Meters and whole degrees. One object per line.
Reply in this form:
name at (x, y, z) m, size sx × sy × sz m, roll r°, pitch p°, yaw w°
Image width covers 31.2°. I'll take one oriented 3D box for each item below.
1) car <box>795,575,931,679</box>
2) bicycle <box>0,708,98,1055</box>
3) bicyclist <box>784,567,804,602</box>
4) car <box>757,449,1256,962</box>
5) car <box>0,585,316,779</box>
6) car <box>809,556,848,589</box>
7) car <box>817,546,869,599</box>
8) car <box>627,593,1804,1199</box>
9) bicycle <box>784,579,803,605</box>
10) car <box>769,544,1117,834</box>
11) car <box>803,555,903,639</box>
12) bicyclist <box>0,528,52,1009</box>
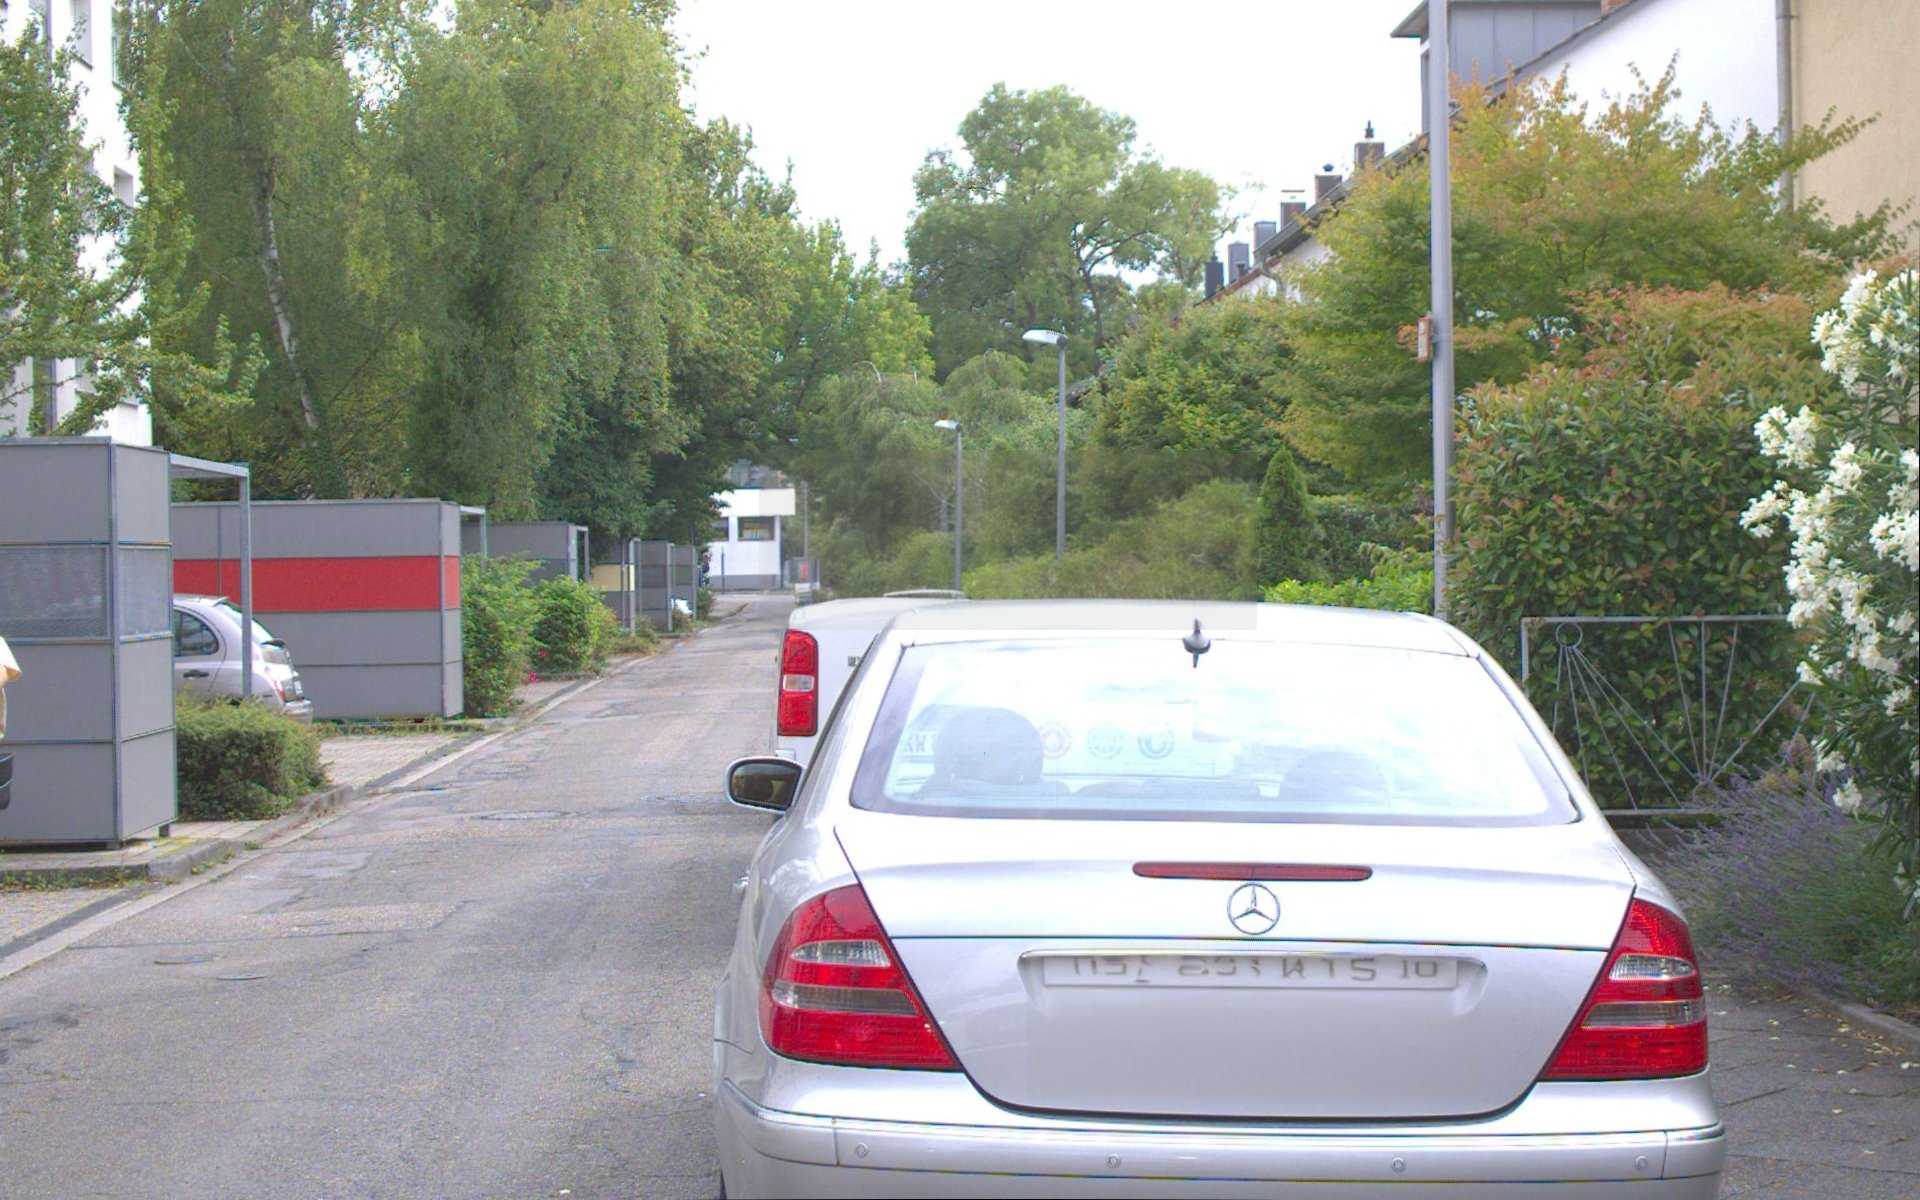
car at (-1.383, 0.359, 49.106) m, size 1.825 × 1.365 × 4.331 m, roll 1°, pitch 1°, yaw -2°
bicycle at (-3.453, 0.955, 11.530) m, size 0.597 × 1.072 × 2.042 m, roll -2°, pitch 1°, yaw -1°
bicyclist at (-7.183, -0.669, 148.565) m, size 0.798 × 1.506 × 0.934 m, roll 1°, pitch 0°, yaw 0°
car at (0.054, 0.383, 15.809) m, size 1.903 × 1.958 × 5.254 m, roll 0°, pitch 1°, yaw -3°
car at (-7.290, 0.686, 28.793) m, size 3.561 × 1.475 × 1.711 m, roll -2°, pitch 1°, yaw -6°
car at (-6.299, -1.329, 165.303) m, size 1.825 × 1.576 × 4.000 m, roll 1°, pitch 1°, yaw -2°
car at (-4.209, -1.005, 124.409) m, size 1.825 × 1.877 × 4.000 m, roll 1°, pitch 1°, yaw -2°
car at (0.364, 0.718, 7.452) m, size 1.783 × 1.416 × 4.455 m, roll 0°, pitch 1°, yaw -1°
bicycle at (-7.183, -0.356, 148.487) m, size 0.689 × 1.127 × 2.579 m, roll 1°, pitch 0°, yaw 0°
car at (-0.205, 0.484, 21.485) m, size 1.824 × 1.630 × 4.163 m, roll 0°, pitch 1°, yaw -5°
car at (-2.145, -0.081, 67.860) m, size 1.825 × 1.576 × 4.001 m, roll 1°, pitch 1°, yaw -4°
bicyclist at (-3.464, 0.557, 11.491) m, size 0.597 × 1.575 × 0.767 m, roll -2°, pitch 0°, yaw -1°
